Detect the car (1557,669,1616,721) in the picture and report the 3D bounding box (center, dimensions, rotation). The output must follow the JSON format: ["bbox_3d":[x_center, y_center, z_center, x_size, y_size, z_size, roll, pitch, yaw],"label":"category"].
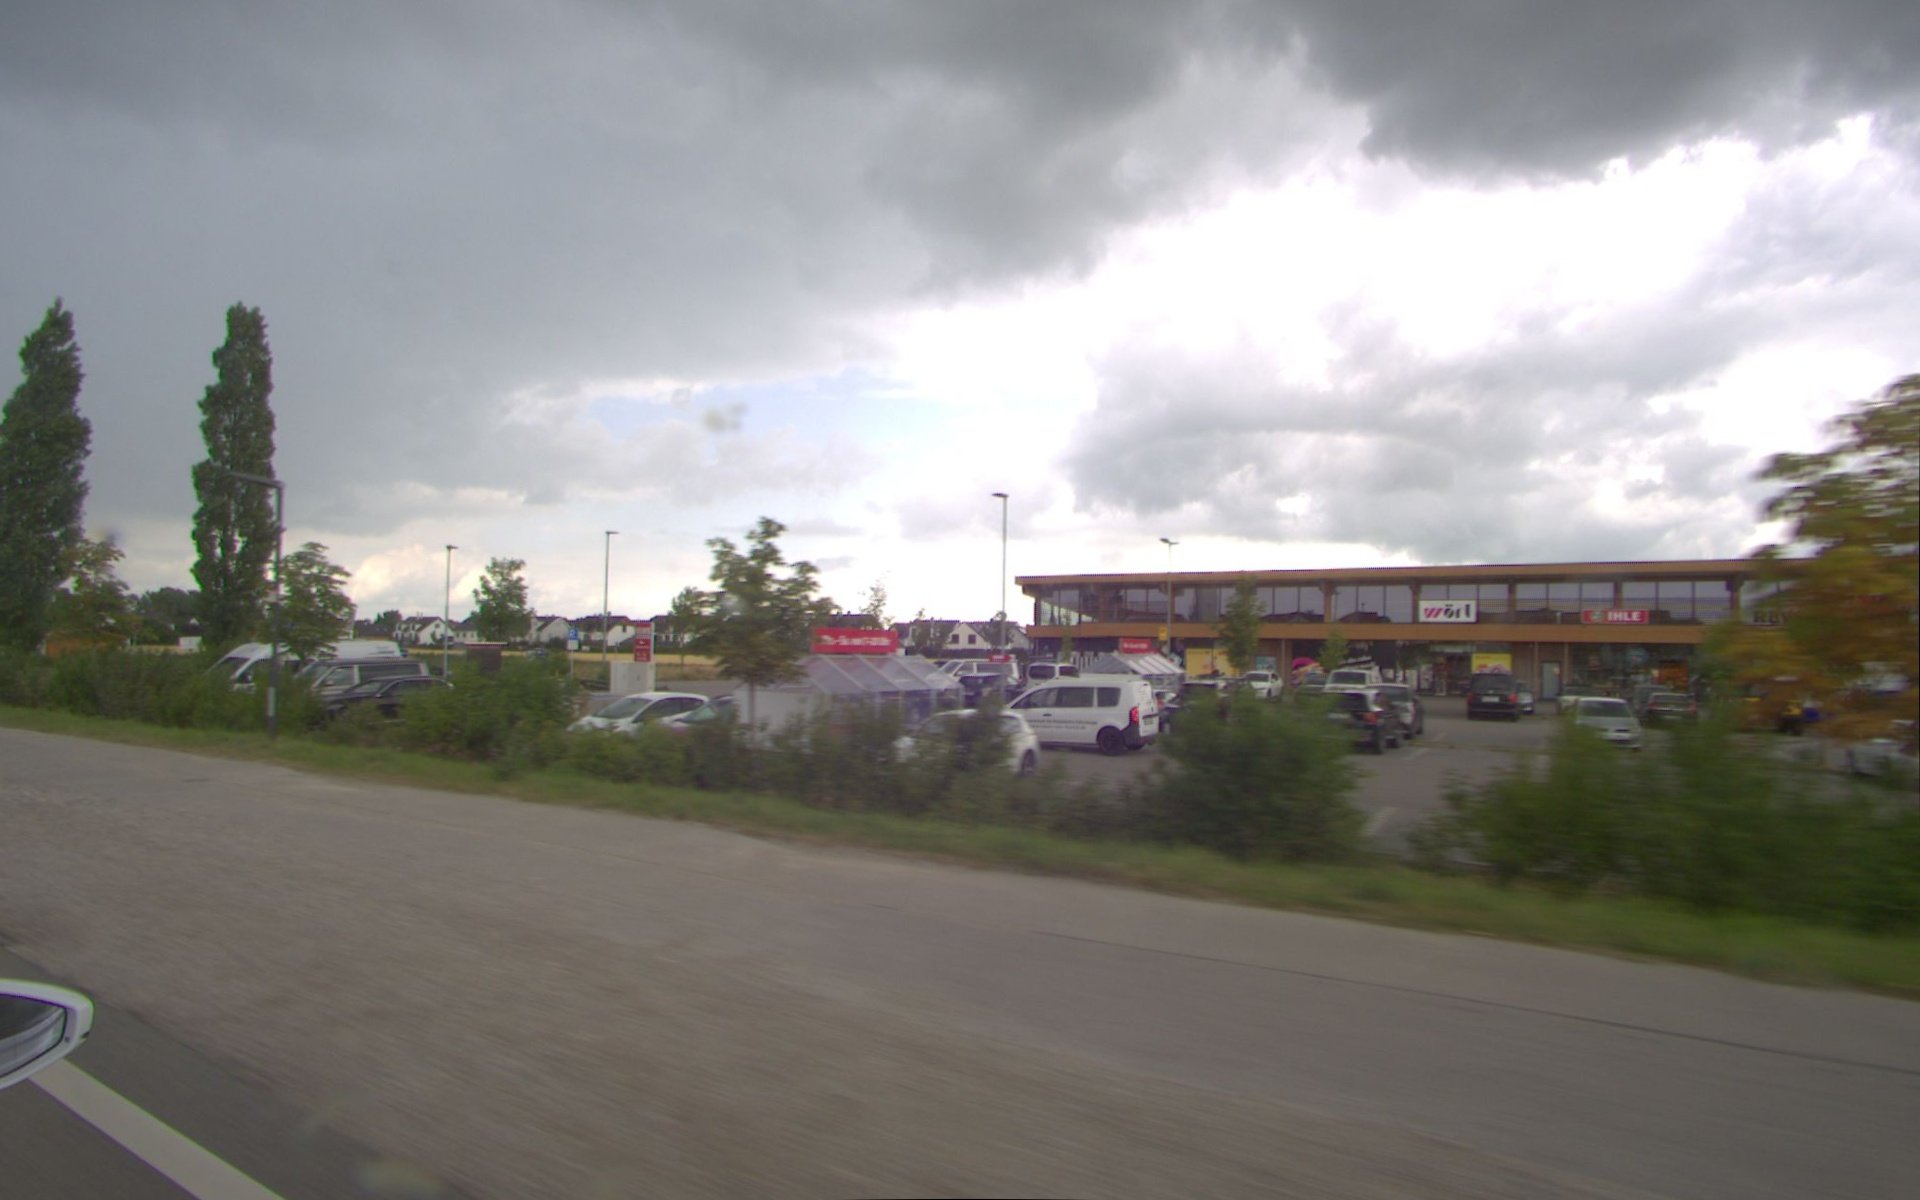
[{"bbox_3d":[28.424,4.243,45.347,1.974,2.040,3.974,0,-1,37],"label":"car"}]

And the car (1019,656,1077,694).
[{"bbox_3d":[5.303,4.441,59.870,1.824,2.036,4.212,0,-1,30],"label":"car"}]

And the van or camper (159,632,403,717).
[{"bbox_3d":[-22.407,2.342,33.453,2.247,2.496,6.459,0,-1,30],"label":"van or camper"}]

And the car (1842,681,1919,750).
[{"bbox_3d":[32.653,4.007,35.253,2.044,2.040,3.974,0,-1,37],"label":"car"}]

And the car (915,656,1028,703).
[{"bbox_3d":[0.588,3.789,48.336,5.159,2.040,1.990,1,-1,-30],"label":"car"}]

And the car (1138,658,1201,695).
[{"bbox_3d":[11.401,4.117,54.311,1.920,1.772,3.974,0,-1,37],"label":"car"}]

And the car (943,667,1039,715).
[{"bbox_3d":[1.298,3.602,40.127,1.974,1.639,3.974,0,-1,37],"label":"car"}]

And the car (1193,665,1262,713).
[{"bbox_3d":[13.082,4.293,48.808,1.974,2.040,3.974,0,-1,37],"label":"car"}]

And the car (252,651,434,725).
[{"bbox_3d":[-19.647,2.722,32.100,1.970,2.040,4.587,0,-1,30],"label":"car"}]

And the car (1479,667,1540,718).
[{"bbox_3d":[25.768,4.270,46.863,1.974,2.040,4.097,0,-1,37],"label":"car"}]

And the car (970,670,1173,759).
[{"bbox_3d":[2.882,2.895,26.188,4.868,1.931,2.101,0,-1,30],"label":"car"}]

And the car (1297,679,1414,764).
[{"bbox_3d":[10.882,3.225,27.405,1.974,1.895,4.247,0,-1,37],"label":"car"}]

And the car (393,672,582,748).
[{"bbox_3d":[-12.459,2.840,26.679,2.049,1.618,4.141,0,-1,30],"label":"car"}]

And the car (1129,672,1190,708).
[{"bbox_3d":[9.883,4.428,49.511,1.768,1.496,3.731,0,-1,32],"label":"car"}]

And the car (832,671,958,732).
[{"bbox_3d":[-2.041,3.198,32.262,1.974,1.639,3.974,0,-1,37],"label":"car"}]

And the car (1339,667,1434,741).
[{"bbox_3d":[13.850,3.280,32.394,1.974,2.040,3.974,0,-1,37],"label":"car"}]

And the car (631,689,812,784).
[{"bbox_3d":[-5.001,2.824,21.447,1.651,1.558,3.751,0,-1,30],"label":"car"}]

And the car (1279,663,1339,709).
[{"bbox_3d":[18.074,4.397,51.709,1.971,2.039,5.122,0,-1,31],"label":"car"}]

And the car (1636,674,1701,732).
[{"bbox_3d":[27.555,3.958,38.893,1.974,2.038,3.978,0,-4,37],"label":"car"}]

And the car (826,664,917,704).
[{"bbox_3d":[-3.762,3.581,43.162,1.874,1.451,4.172,0,-1,30],"label":"car"}]

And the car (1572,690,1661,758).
[{"bbox_3d":[19.504,3.597,29.678,1.974,1.572,4.105,0,-1,37],"label":"car"}]

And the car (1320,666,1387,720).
[{"bbox_3d":[17.482,4.038,44.370,1.971,2.039,5.122,0,-1,31],"label":"car"}]

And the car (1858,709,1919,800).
[{"bbox_3d":[20.628,3.262,21.203,1.728,1.552,3.544,0,-1,31],"label":"car"}]

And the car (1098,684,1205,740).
[{"bbox_3d":[5.963,3.390,30.782,1.971,1.460,3.983,0,-3,31],"label":"car"}]

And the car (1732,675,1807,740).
[{"bbox_3d":[30.082,3.939,37.313,1.974,2.040,3.974,0,-1,37],"label":"car"}]

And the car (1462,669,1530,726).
[{"bbox_3d":[22.418,4.002,41.834,1.974,2.040,3.974,0,-1,37],"label":"car"}]

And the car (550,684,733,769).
[{"bbox_3d":[-7.468,2.930,23.903,1.651,1.558,4.141,0,-1,30],"label":"car"}]

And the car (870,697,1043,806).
[{"bbox_3d":[0.035,2.795,19.188,1.651,1.558,3.751,0,-1,30],"label":"car"}]

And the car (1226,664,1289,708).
[{"bbox_3d":[15.773,4.517,52.967,1.974,2.040,3.974,0,-1,37],"label":"car"}]

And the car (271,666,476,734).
[{"bbox_3d":[-17.248,2.890,29.760,1.732,1.618,5.089,0,-1,30],"label":"car"}]

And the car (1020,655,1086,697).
[{"bbox_3d":[4.880,3.903,52.139,2.009,1.936,3.888,0,-1,30],"label":"car"}]
